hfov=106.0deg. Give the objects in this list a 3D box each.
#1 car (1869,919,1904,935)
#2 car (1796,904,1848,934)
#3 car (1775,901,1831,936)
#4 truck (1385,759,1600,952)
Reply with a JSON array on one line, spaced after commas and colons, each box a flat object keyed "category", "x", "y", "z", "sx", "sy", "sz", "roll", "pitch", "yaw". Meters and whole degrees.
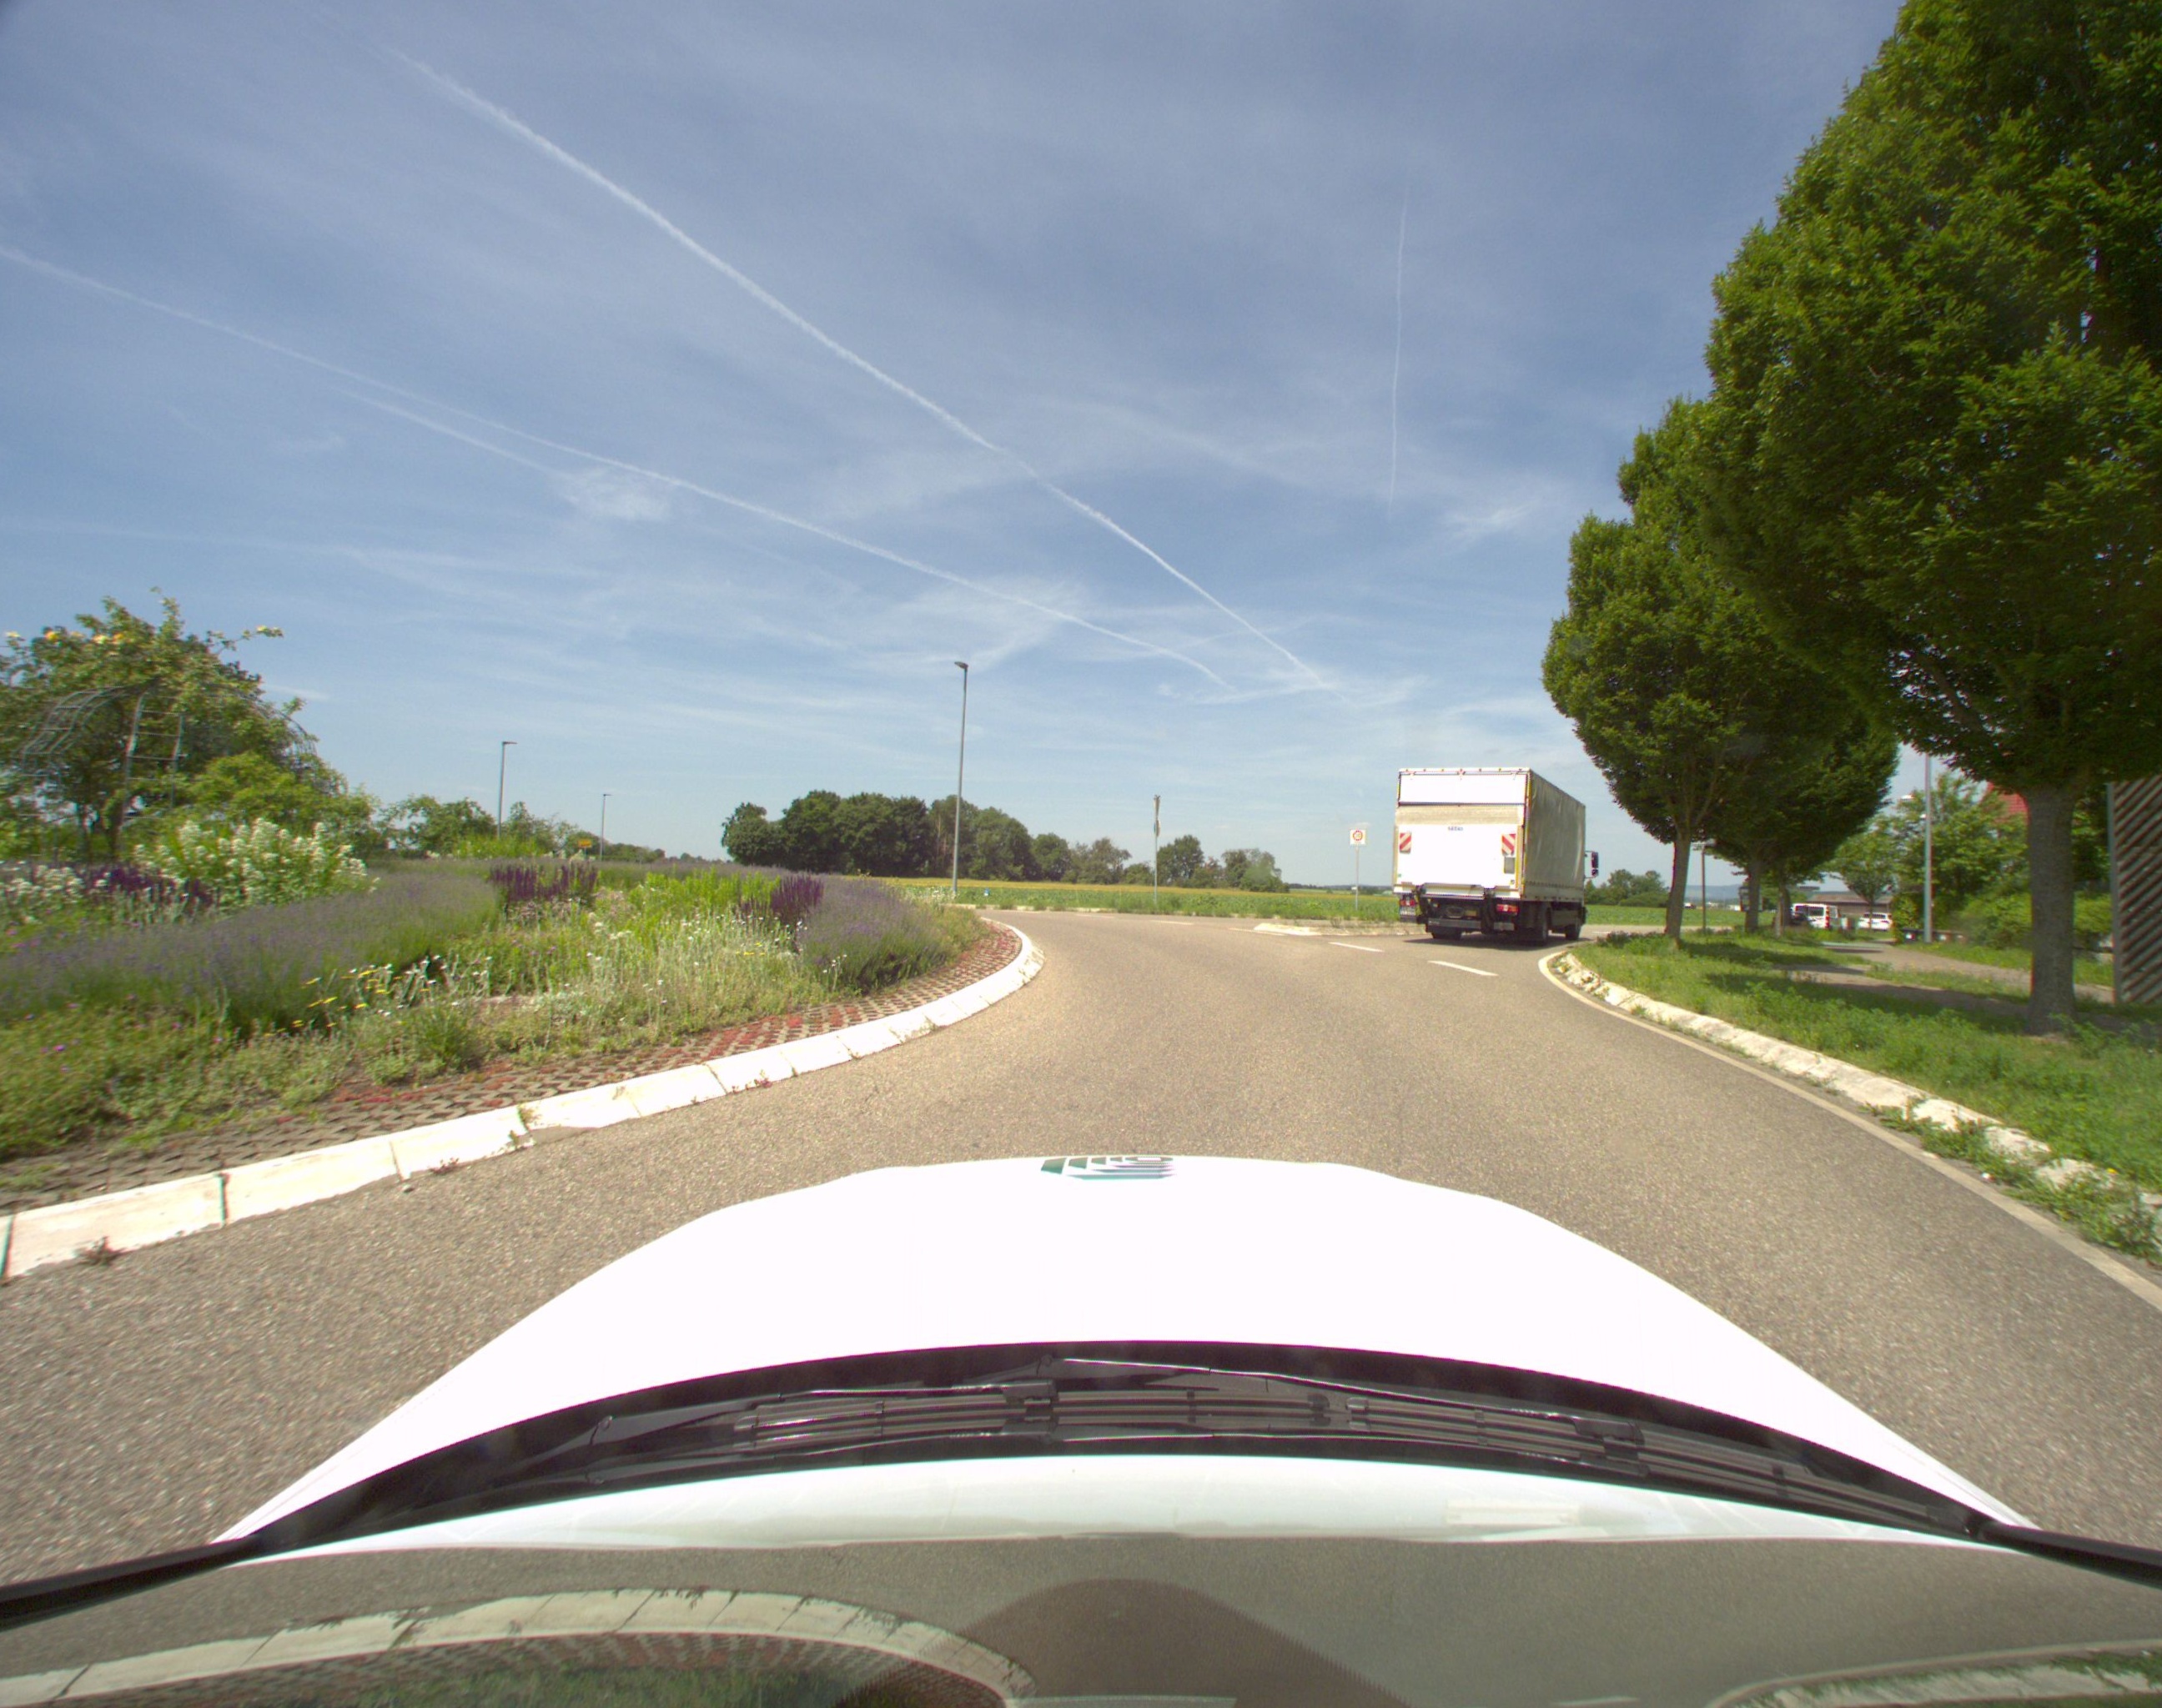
[{"category": "car", "x": 60.454, "y": 5.467, "z": 61.112, "sx": 3.220, "sy": 1.137, "sz": 1.351, "roll": 4, "pitch": -3, "yaw": -36}, {"category": "car", "x": 46.141, "y": 4.068, "z": 50.656, "sx": 4.020, "sy": 1.717, "sz": 1.976, "roll": 5, "pitch": -4, "yaw": -41}, {"category": "car", "x": 41.665, "y": 3.715, "z": 46.977, "sx": 4.020, "sy": 1.794, "sz": 1.976, "roll": 5, "pitch": -3, "yaw": -42}, {"category": "truck", "x": 10.466, "y": 0.210, "z": 19.980, "sx": 2.740, "sy": 3.671, "sz": 9.439, "roll": 1, "pitch": -2, "yaw": 39}]
